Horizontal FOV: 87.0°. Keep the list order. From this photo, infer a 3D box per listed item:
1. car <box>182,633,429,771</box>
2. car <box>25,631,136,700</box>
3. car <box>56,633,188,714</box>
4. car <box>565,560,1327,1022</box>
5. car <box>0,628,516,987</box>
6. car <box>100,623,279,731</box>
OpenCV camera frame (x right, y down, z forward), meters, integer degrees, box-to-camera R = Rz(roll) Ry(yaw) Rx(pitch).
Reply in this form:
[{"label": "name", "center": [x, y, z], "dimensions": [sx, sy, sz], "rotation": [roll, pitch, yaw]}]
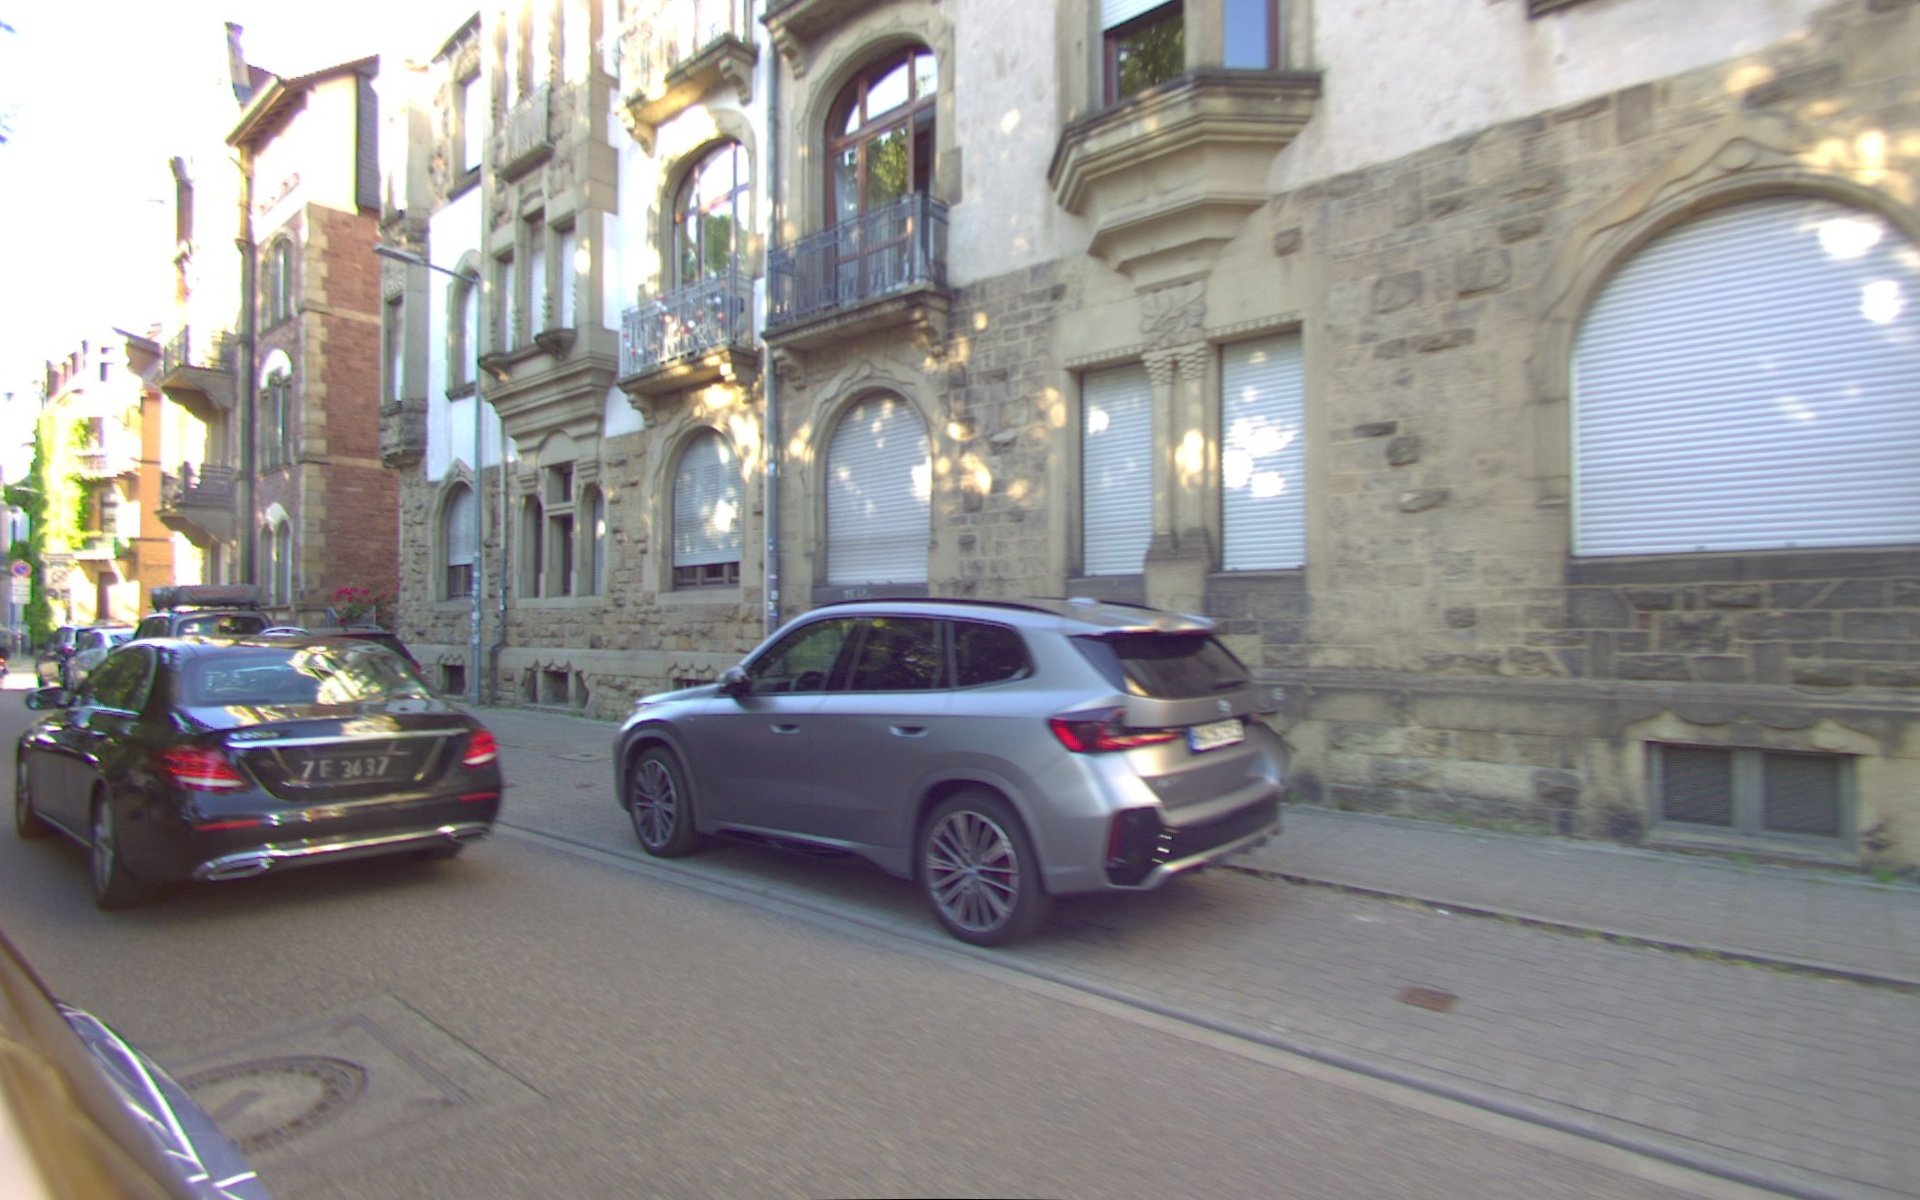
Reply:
[{"label": "car", "center": [-9.130, 1.269, 13.994], "dimensions": [4.210, 1.512, 1.751], "rotation": [0, -1, 41]}, {"label": "car", "center": [-22.252, 1.633, 25.555], "dimensions": [3.854, 1.516, 1.612], "rotation": [-3, 0, 42]}, {"label": "car", "center": [-18.041, 1.547, 21.728], "dimensions": [3.854, 1.458, 1.612], "rotation": [-3, 0, 42]}, {"label": "car", "center": [-0.361, 0.767, 5.941], "dimensions": [4.337, 1.730, 1.856], "rotation": [-2, -1, 41]}, {"label": "car", "center": [-4.904, 0.968, 6.605], "dimensions": [4.565, 1.474, 1.844], "rotation": [-1, 0, 40]}, {"label": "car", "center": [-13.904, 1.275, 18.179], "dimensions": [4.210, 1.680, 1.751], "rotation": [-1, -1, 41]}]
